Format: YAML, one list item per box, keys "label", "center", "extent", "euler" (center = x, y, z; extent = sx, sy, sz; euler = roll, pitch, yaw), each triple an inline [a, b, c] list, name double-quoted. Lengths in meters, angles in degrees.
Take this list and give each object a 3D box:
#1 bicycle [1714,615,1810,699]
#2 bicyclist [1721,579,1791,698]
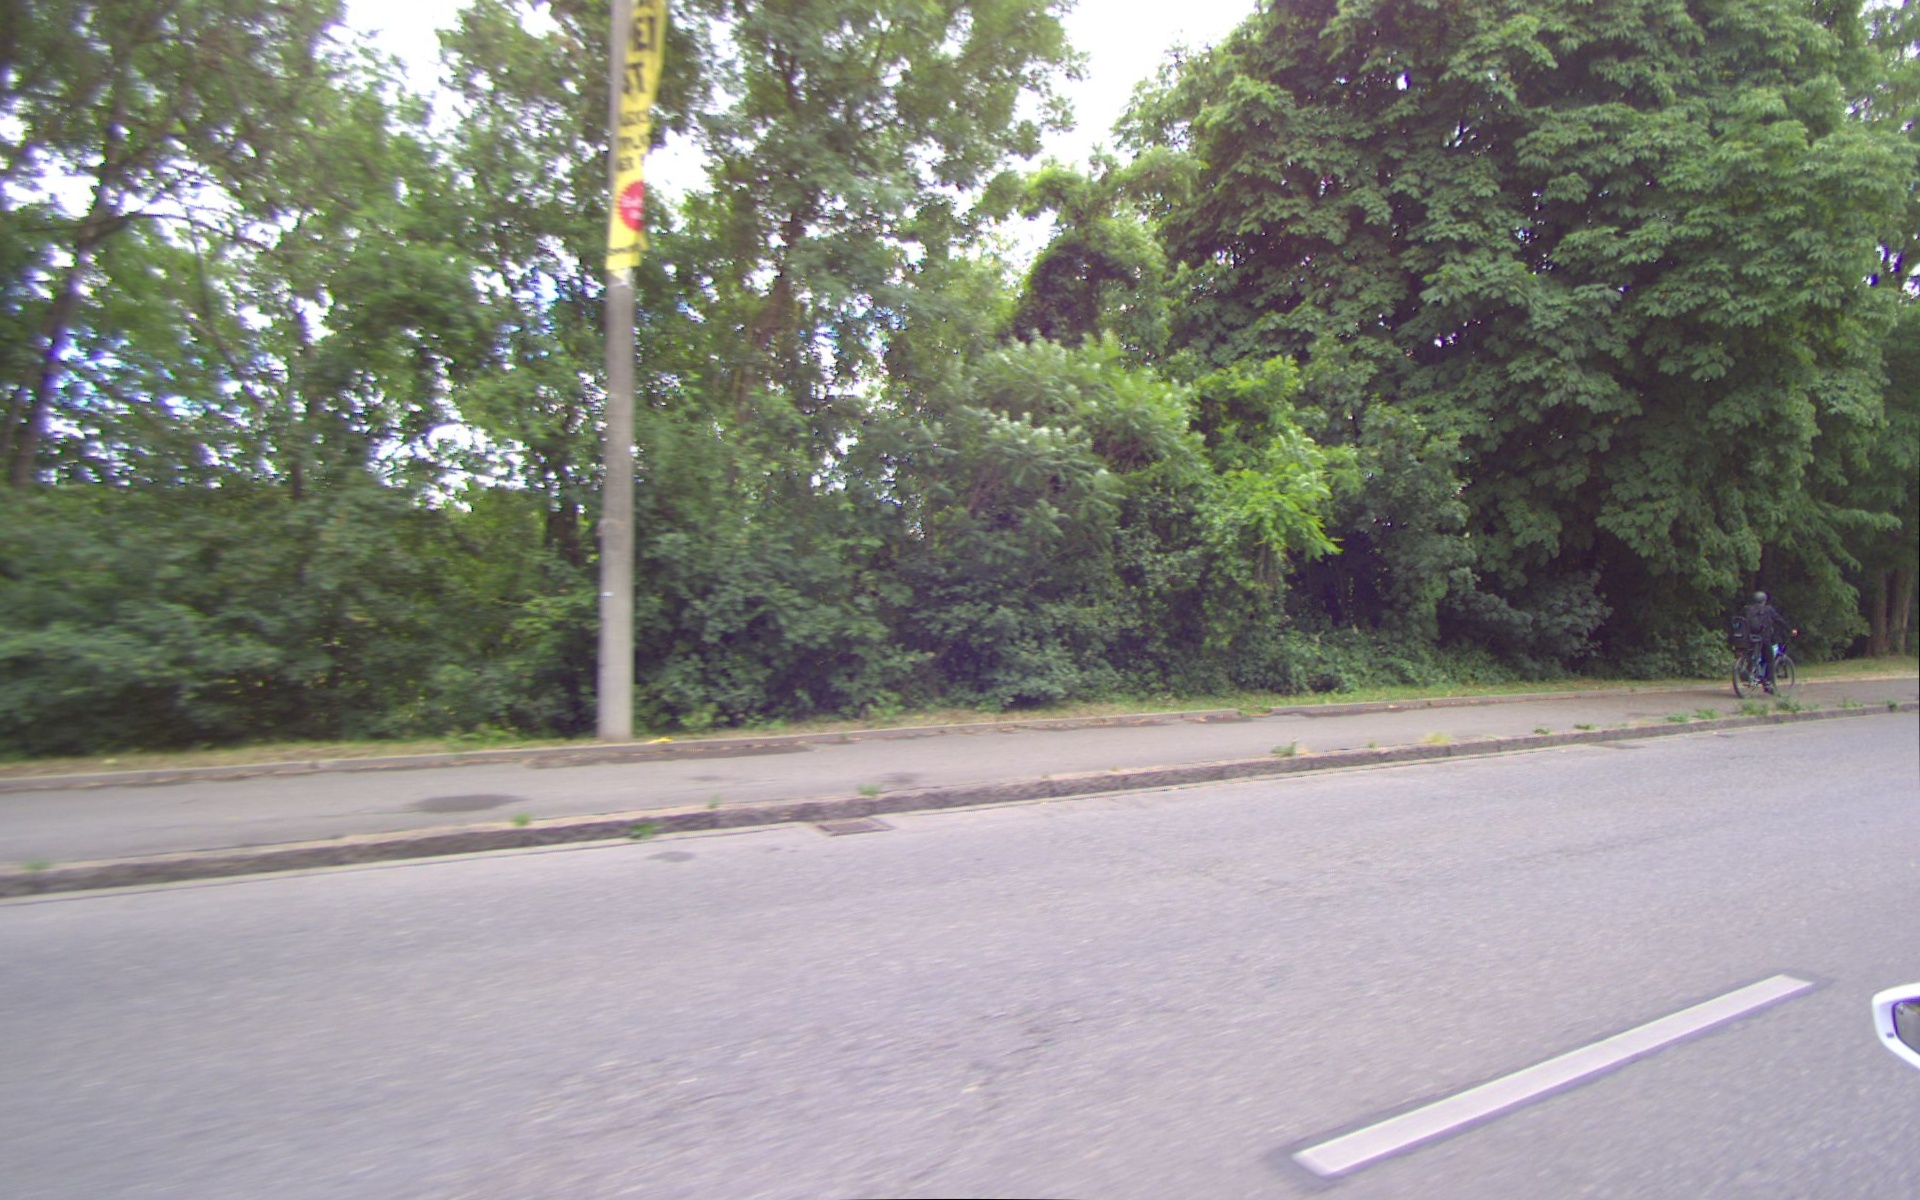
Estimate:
- label: "bicycle"
  center: [13.949, 0.954, 17.449]
  extent: [2.259, 1.349, 0.693]
  euler: [1, 2, -36]
- label: "bicyclist"
  center: [13.610, 0.644, 17.174]
  extent: [0.827, 1.974, 0.682]
  euler: [1, 1, -36]
